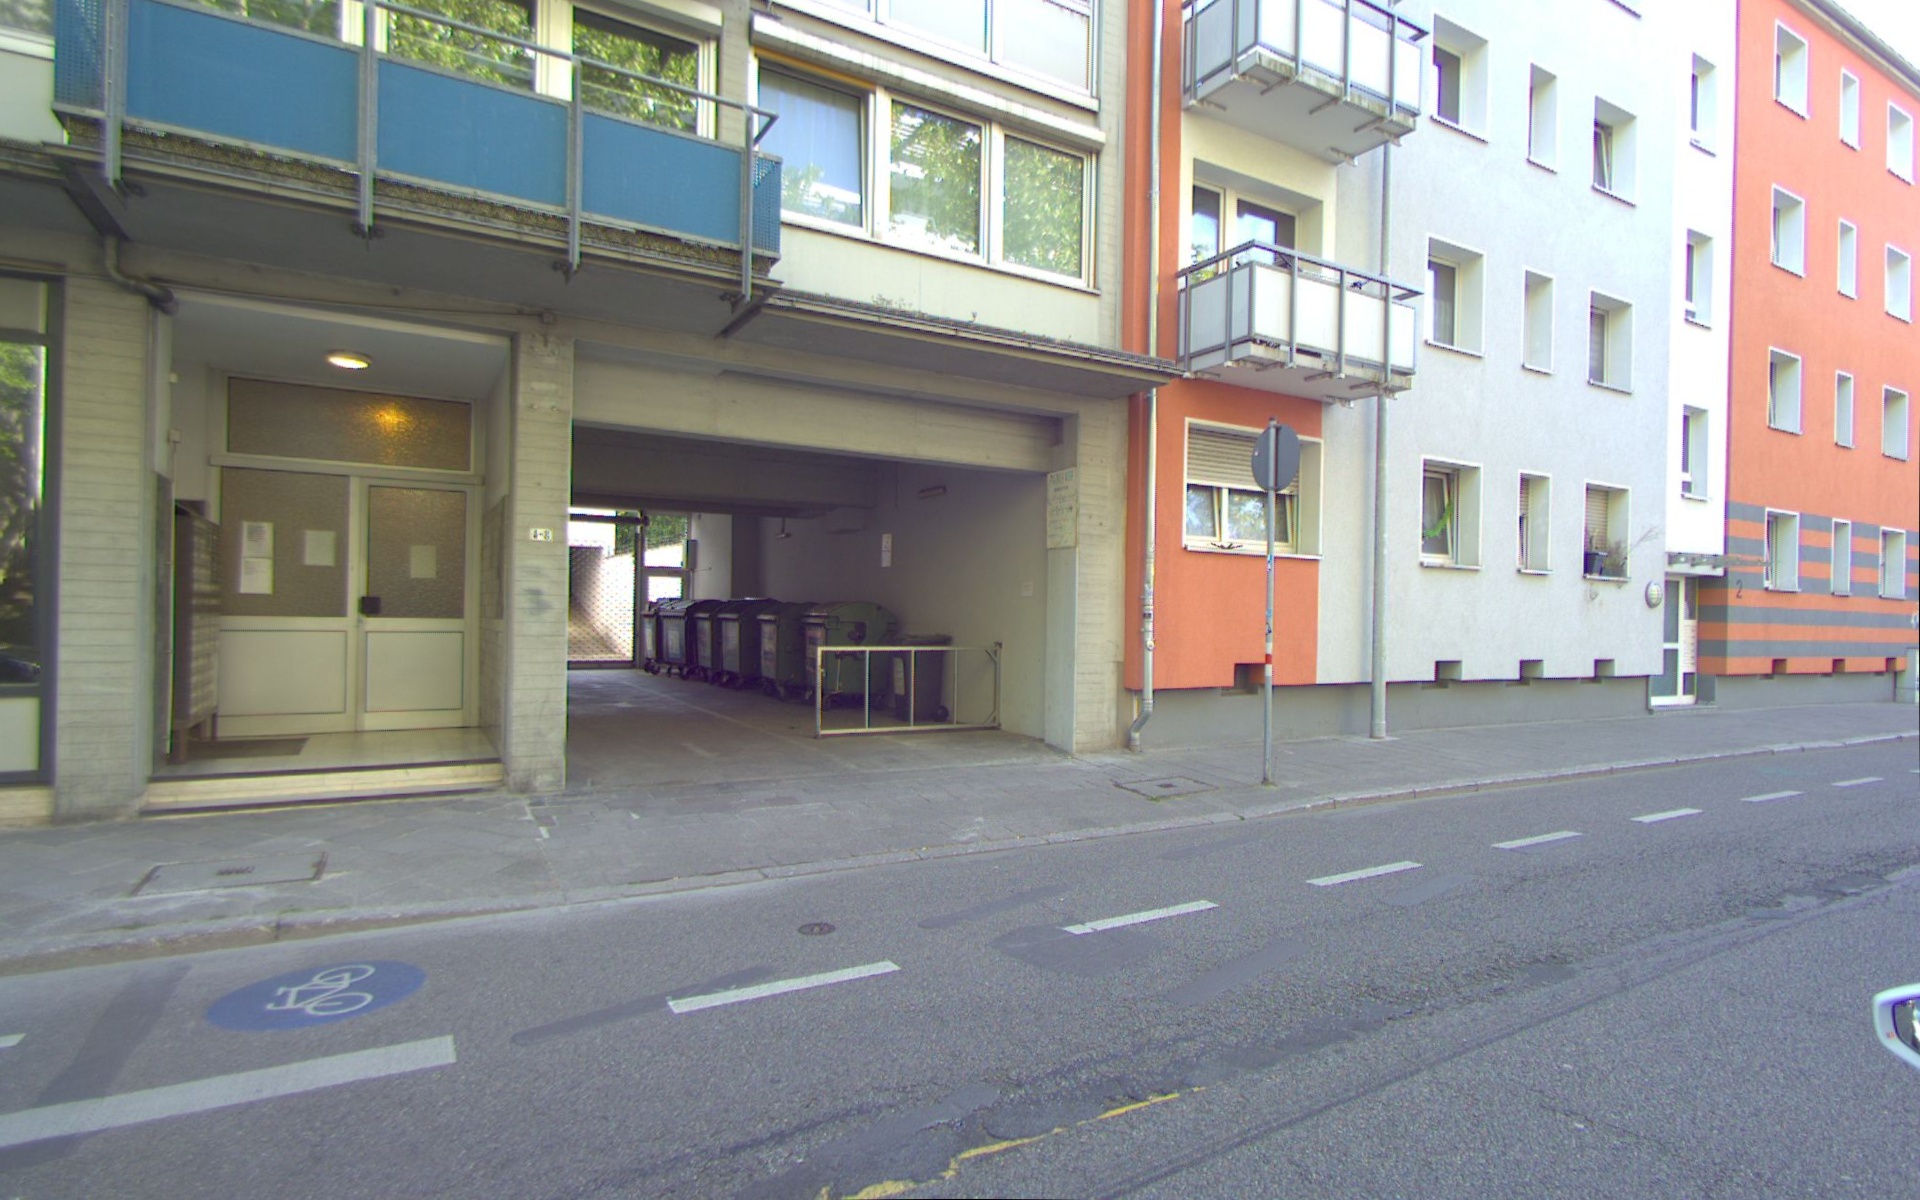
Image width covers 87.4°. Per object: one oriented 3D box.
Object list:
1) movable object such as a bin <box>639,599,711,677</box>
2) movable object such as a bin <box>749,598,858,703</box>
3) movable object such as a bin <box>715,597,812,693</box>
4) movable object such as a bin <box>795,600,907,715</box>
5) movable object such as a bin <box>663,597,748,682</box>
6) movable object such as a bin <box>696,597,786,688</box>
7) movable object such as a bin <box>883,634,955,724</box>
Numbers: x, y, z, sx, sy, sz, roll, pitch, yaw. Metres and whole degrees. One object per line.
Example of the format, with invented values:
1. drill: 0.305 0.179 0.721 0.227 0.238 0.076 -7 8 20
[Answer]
1. movable object such as a bin: -5.665 0.736 19.946 1.128 1.484 1.129 2 0 -28
2. movable object such as a bin: -2.381 0.738 15.163 1.264 1.493 1.265 2 -1 -28
3. movable object such as a bin: -3.278 0.731 16.700 1.264 1.506 1.155 2 0 -28
4. movable object such as a bin: -1.516 0.758 13.810 1.128 1.484 1.255 2 0 -28
5. movable object such as a bin: -4.746 0.725 18.691 1.264 1.506 1.155 2 0 -28
6. movable object such as a bin: -3.881 0.732 17.748 1.264 1.515 1.155 2 0 -28
7. movable object such as a bin: -0.516 0.963 12.458 0.694 1.061 0.567 2 0 -28
